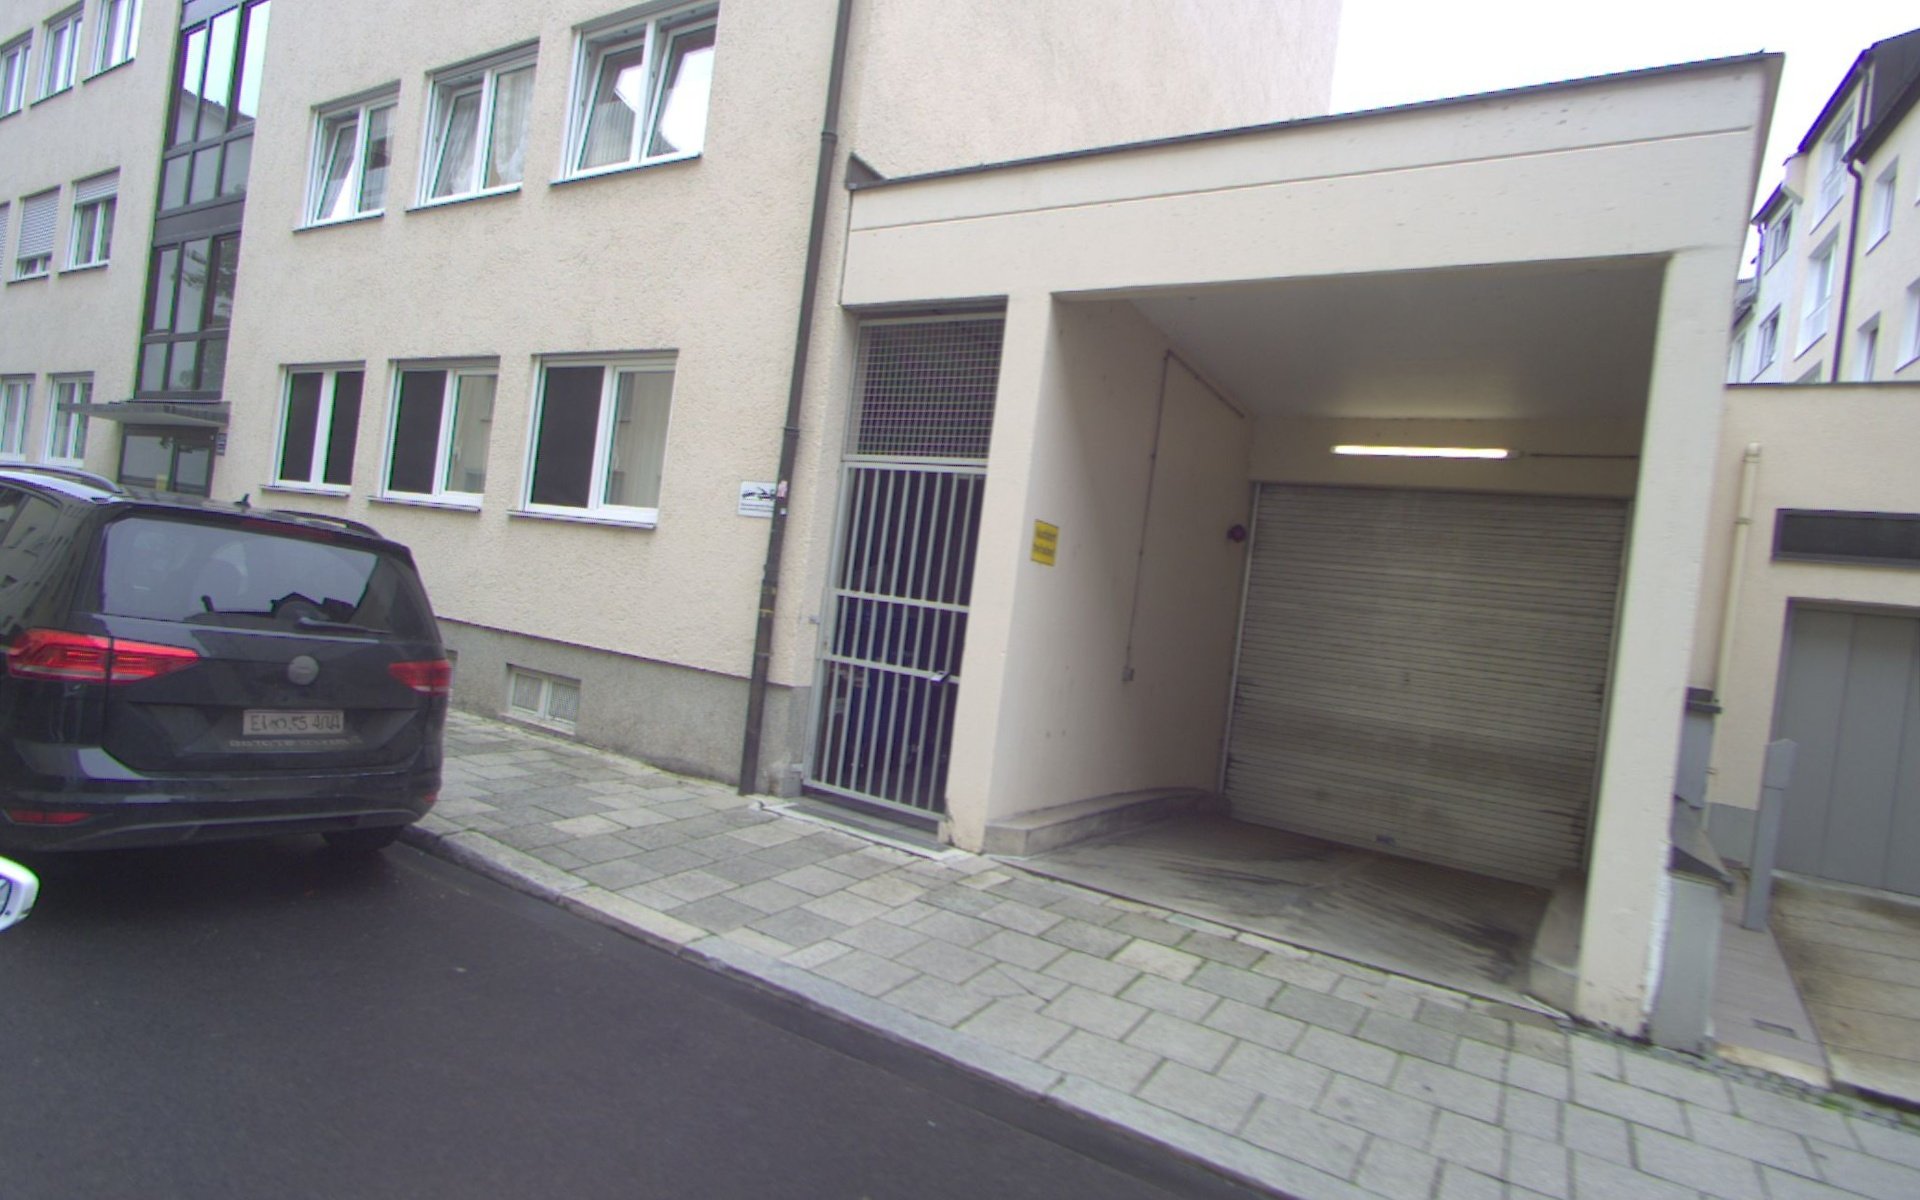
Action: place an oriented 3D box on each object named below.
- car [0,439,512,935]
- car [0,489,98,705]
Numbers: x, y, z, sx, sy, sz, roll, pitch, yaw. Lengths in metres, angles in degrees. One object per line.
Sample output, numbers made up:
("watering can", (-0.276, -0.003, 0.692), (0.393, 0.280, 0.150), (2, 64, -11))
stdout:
("car", (-4.445, 0.169, 5.075), (4.172, 1.626, 1.716), (7, -2, 30))
("car", (-8.714, -0.259, 7.773), (4.172, 1.503, 1.716), (7, -2, 30))
